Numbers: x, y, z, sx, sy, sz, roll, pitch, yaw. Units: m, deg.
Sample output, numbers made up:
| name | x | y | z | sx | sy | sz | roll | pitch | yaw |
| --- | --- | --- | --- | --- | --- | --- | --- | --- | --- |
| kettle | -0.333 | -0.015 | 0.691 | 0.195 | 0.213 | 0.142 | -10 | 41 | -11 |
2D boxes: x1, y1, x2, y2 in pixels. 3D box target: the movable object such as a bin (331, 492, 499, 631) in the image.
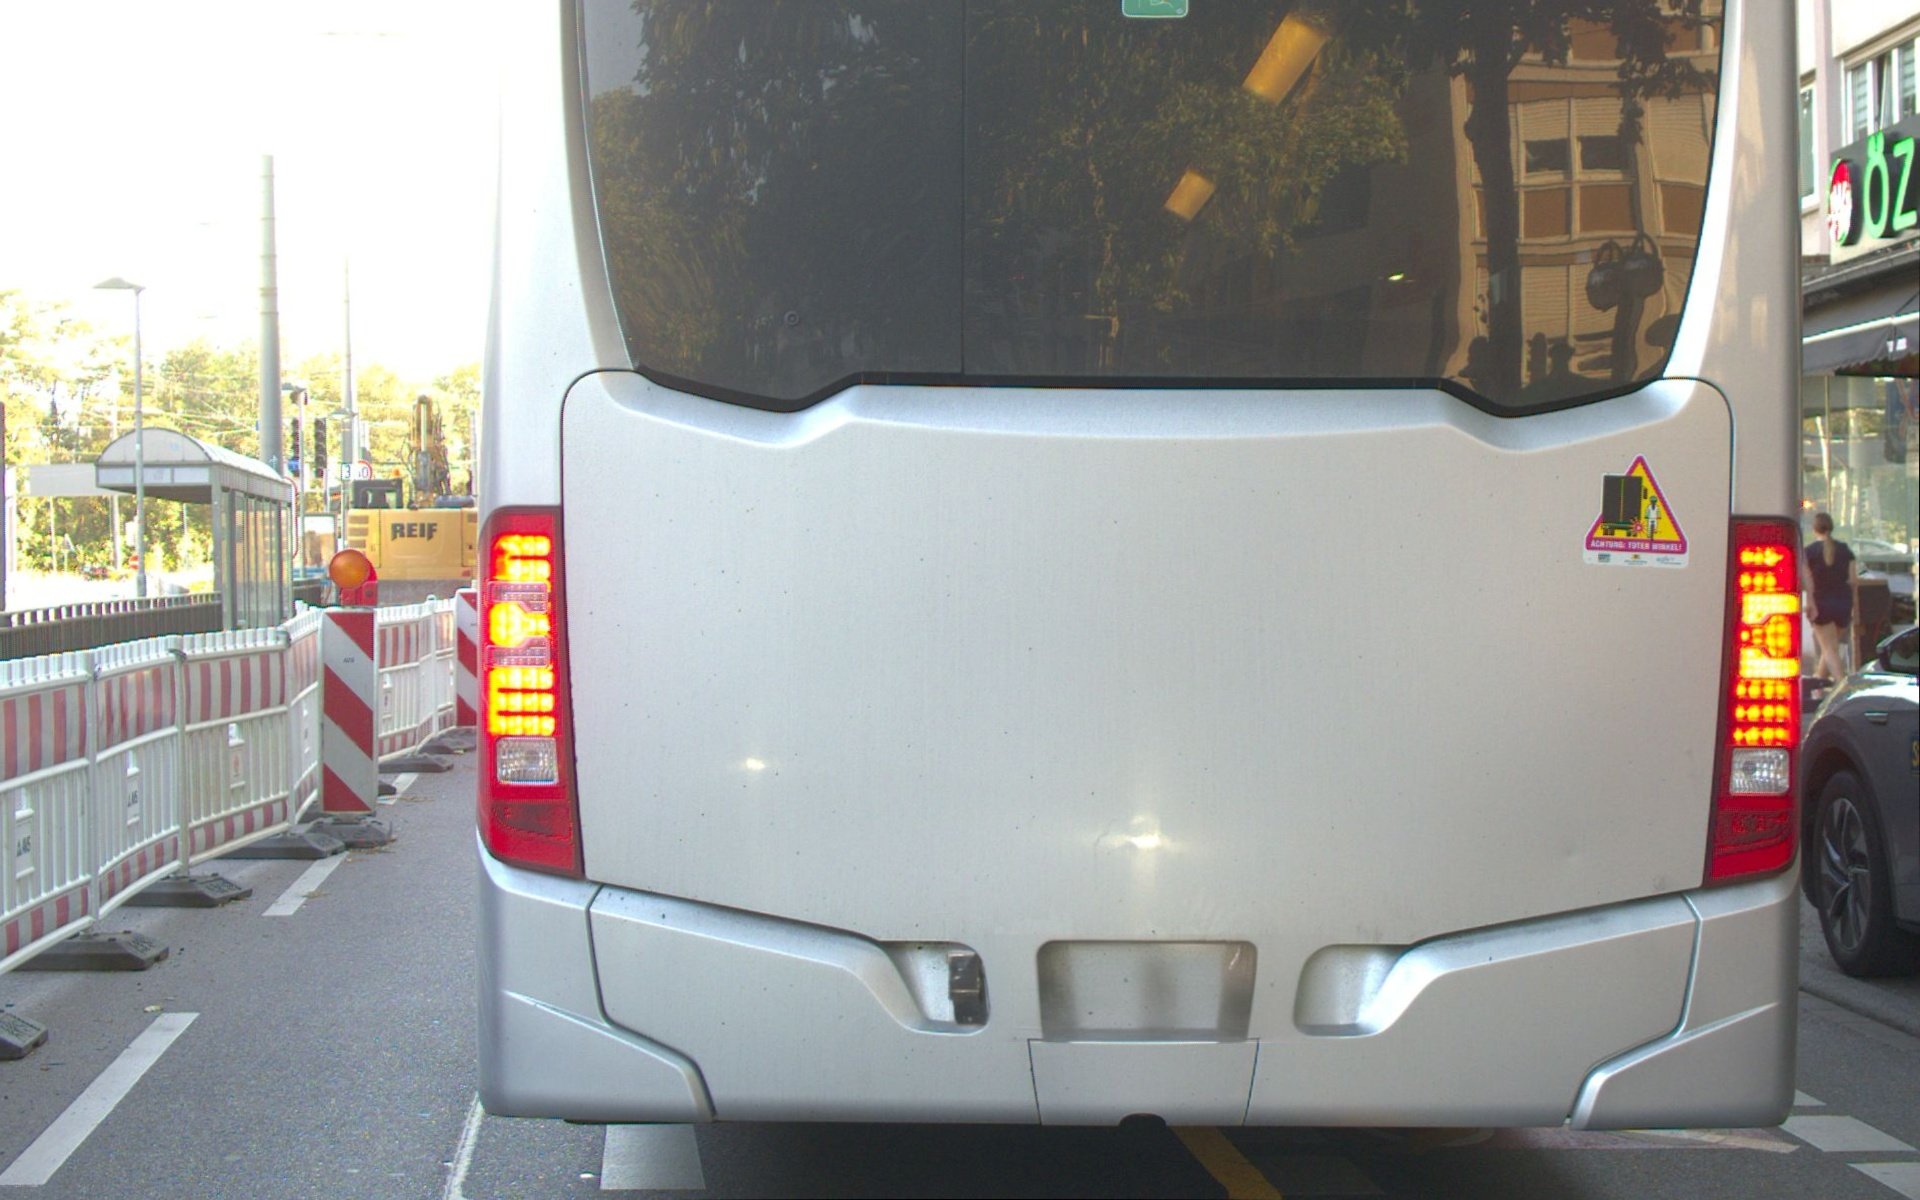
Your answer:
| name | x | y | z | sx | sy | sz | roll | pitch | yaw |
| --- | --- | --- | --- | --- | --- | --- | --- | --- | --- |
| movable object such as a bin | -10.046 | -0.717 | 63.684 | 2.806 | 2.453 | 4.001 | -1 | 1 | -5 |

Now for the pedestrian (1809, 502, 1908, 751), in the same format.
| name | x | y | z | sx | sy | sz | roll | pitch | yaw |
| --- | --- | --- | --- | --- | --- | --- | --- | --- | --- |
| pedestrian | 7.357 | 0.209 | 28.168 | 0.612 | 2.007 | 0.696 | -1 | 0 | 2 |

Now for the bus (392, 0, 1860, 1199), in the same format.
| name | x | y | z | sx | sy | sz | roll | pitch | yaw |
| --- | --- | --- | --- | --- | --- | --- | --- | --- | --- |
| bus | 0.270 | -0.287 | 11.261 | 2.608 | 3.159 | 10.292 | 0 | 1 | 0 |

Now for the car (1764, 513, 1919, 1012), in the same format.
| name | x | y | z | sx | sy | sz | roll | pitch | yaw |
| --- | --- | --- | --- | --- | --- | --- | --- | --- | --- |
| car | 3.985 | 0.493 | 10.276 | 1.739 | 1.592 | 4.300 | -3 | 1 | -5 |

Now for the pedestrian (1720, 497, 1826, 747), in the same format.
| name | x | y | z | sx | sy | sz | roll | pitch | yaw |
| --- | --- | --- | --- | --- | --- | --- | --- | --- | --- |
| pedestrian | 6.651 | 0.174 | 28.143 | 0.691 | 2.007 | 0.696 | -1 | 0 | 1 |
